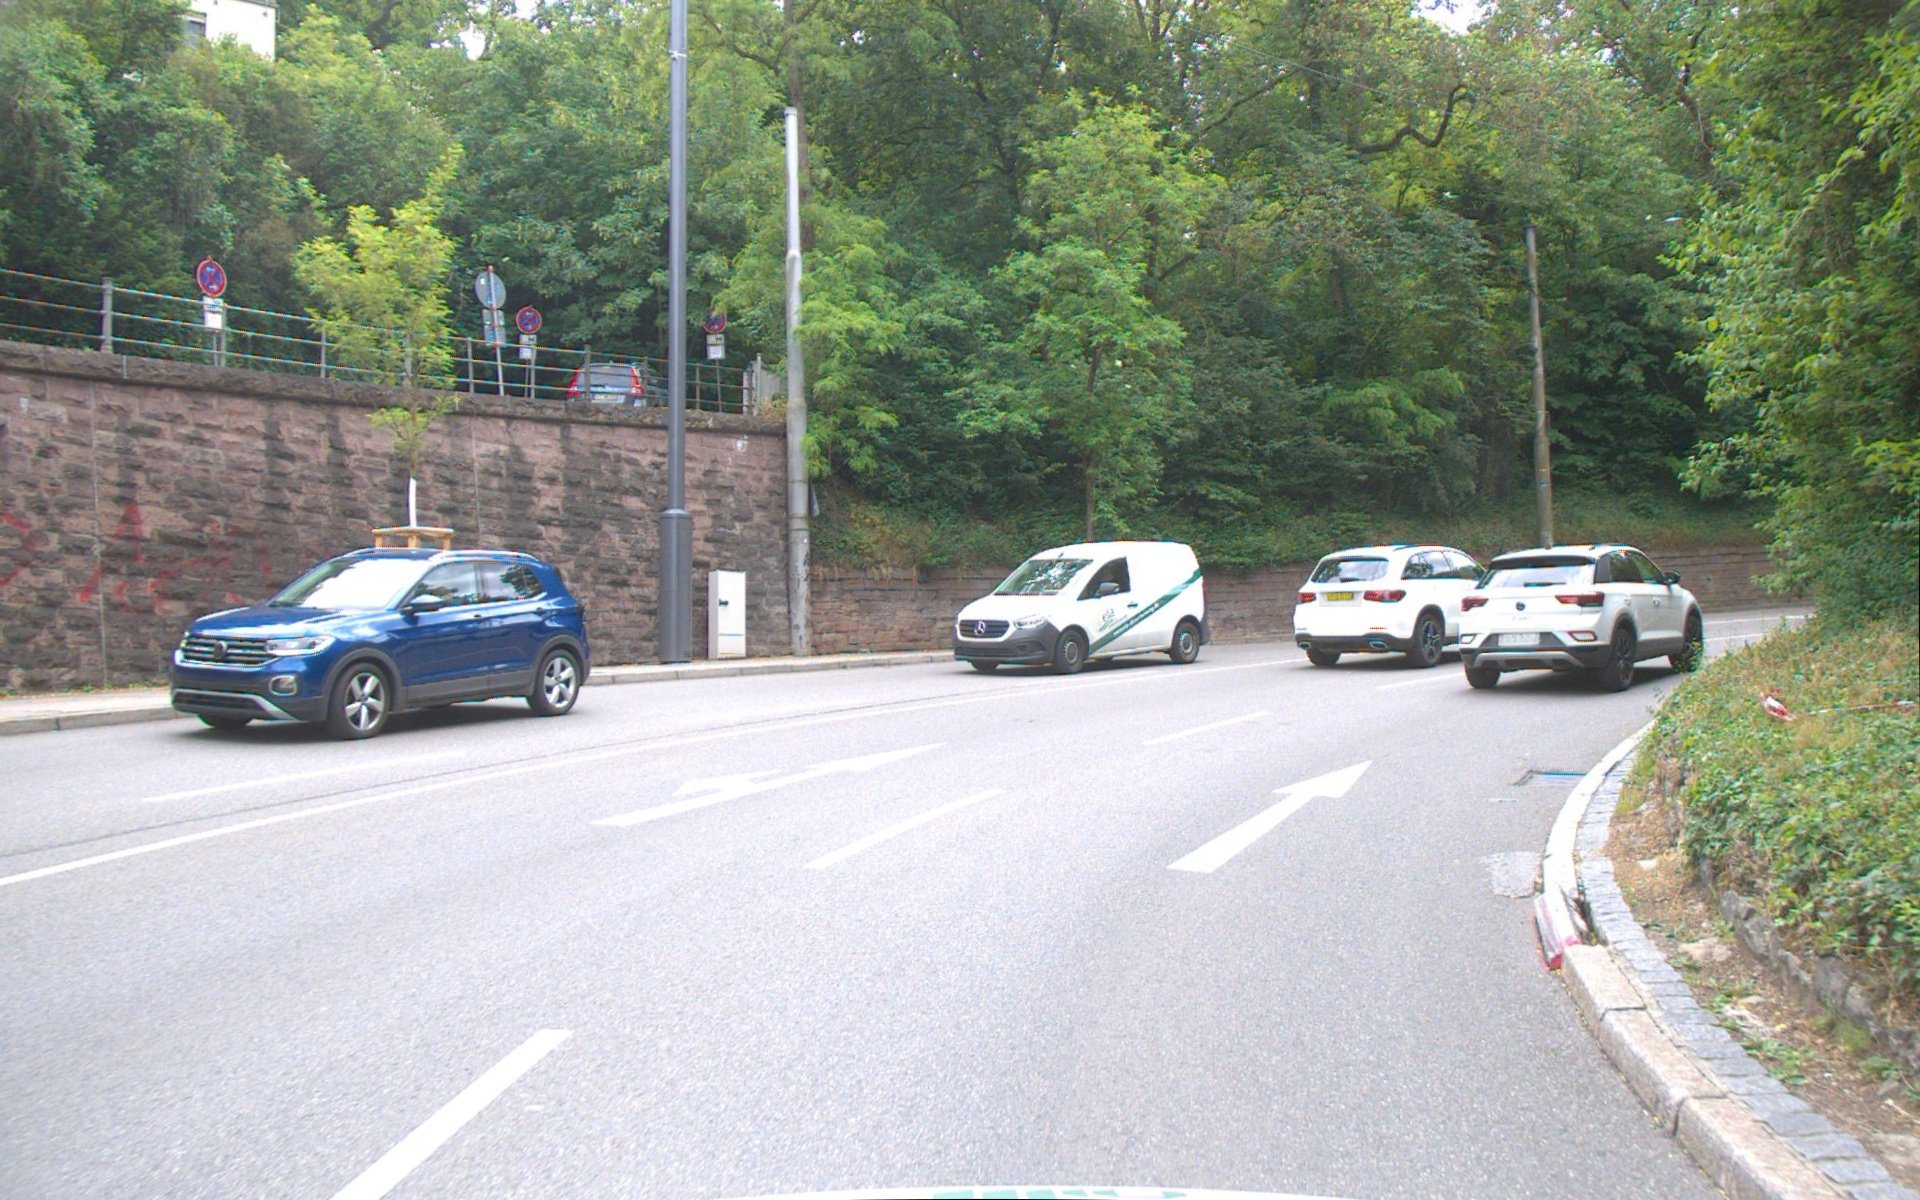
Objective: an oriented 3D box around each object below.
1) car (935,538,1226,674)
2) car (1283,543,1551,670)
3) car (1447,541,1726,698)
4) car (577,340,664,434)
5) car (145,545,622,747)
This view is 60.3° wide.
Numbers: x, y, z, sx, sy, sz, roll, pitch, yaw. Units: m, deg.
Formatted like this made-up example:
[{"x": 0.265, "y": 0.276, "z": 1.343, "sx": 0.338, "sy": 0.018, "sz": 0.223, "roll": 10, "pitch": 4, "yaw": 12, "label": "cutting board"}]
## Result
[{"x": 1.868, "y": 0.005, "z": 24.223, "sx": 1.795, "sy": 1.794, "sz": 4.641, "roll": 1, "pitch": 2, "yaw": 42, "label": "car"}, {"x": 6.713, "y": 0.027, "z": 23.964, "sx": 1.832, "sy": 1.633, "sz": 4.642, "roll": 0, "pitch": 2, "yaw": 43, "label": "car"}, {"x": 7.453, "y": 0.126, "z": 19.446, "sx": 1.728, "sy": 1.579, "sz": 4.315, "roll": 2, "pitch": 3, "yaw": 40, "label": "car"}, {"x": -7.267, "y": -4.543, "z": 35.693, "sx": 1.646, "sy": 1.404, "sz": 3.727, "roll": 1, "pitch": -1, "yaw": -9, "label": "car"}, {"x": -5.062, "y": 0.341, "z": 15.165, "sx": 1.692, "sy": 1.554, "sz": 4.199, "roll": 1, "pitch": 1, "yaw": 24, "label": "car"}]
